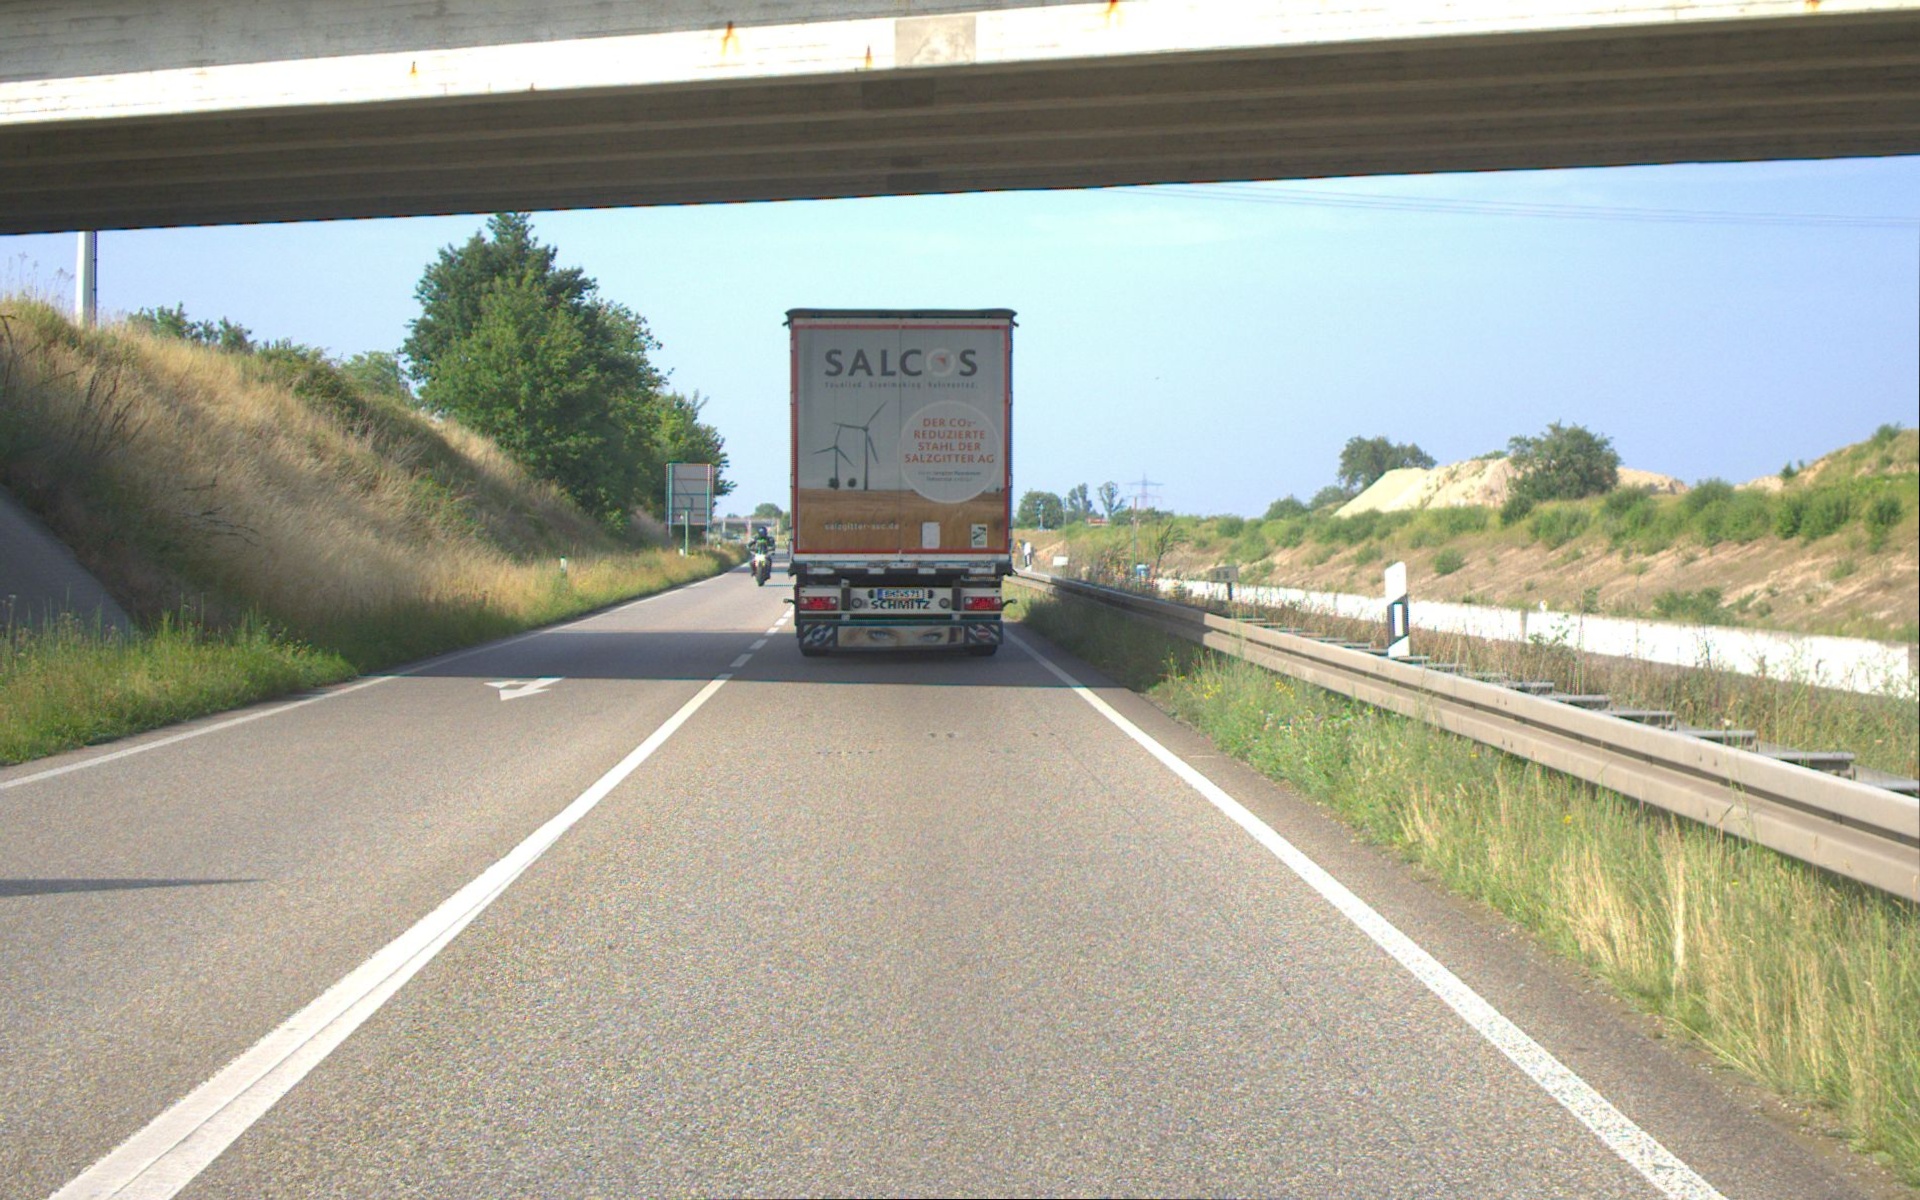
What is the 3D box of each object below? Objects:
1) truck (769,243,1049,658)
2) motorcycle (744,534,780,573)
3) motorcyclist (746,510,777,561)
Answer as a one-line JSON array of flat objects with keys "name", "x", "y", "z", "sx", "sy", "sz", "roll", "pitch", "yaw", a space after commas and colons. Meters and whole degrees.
[{"name": "truck", "x": -0.809, "y": -1.767, "z": 43.062, "sx": 3.152, "sy": 4.672, "sz": 8.443, "roll": 0, "pitch": 1, "yaw": -3}, {"name": "motorcycle", "x": -5.775, "y": -1.361, "z": 100.241, "sx": 1.041, "sy": 1.113, "sz": 2.133, "roll": -1, "pitch": 1, "yaw": -3}, {"name": "motorcyclist", "x": -5.799, "y": -1.884, "z": 100.308, "sx": 0.879, "sy": 1.446, "sz": 1.284, "roll": -1, "pitch": 1, "yaw": -3}]
